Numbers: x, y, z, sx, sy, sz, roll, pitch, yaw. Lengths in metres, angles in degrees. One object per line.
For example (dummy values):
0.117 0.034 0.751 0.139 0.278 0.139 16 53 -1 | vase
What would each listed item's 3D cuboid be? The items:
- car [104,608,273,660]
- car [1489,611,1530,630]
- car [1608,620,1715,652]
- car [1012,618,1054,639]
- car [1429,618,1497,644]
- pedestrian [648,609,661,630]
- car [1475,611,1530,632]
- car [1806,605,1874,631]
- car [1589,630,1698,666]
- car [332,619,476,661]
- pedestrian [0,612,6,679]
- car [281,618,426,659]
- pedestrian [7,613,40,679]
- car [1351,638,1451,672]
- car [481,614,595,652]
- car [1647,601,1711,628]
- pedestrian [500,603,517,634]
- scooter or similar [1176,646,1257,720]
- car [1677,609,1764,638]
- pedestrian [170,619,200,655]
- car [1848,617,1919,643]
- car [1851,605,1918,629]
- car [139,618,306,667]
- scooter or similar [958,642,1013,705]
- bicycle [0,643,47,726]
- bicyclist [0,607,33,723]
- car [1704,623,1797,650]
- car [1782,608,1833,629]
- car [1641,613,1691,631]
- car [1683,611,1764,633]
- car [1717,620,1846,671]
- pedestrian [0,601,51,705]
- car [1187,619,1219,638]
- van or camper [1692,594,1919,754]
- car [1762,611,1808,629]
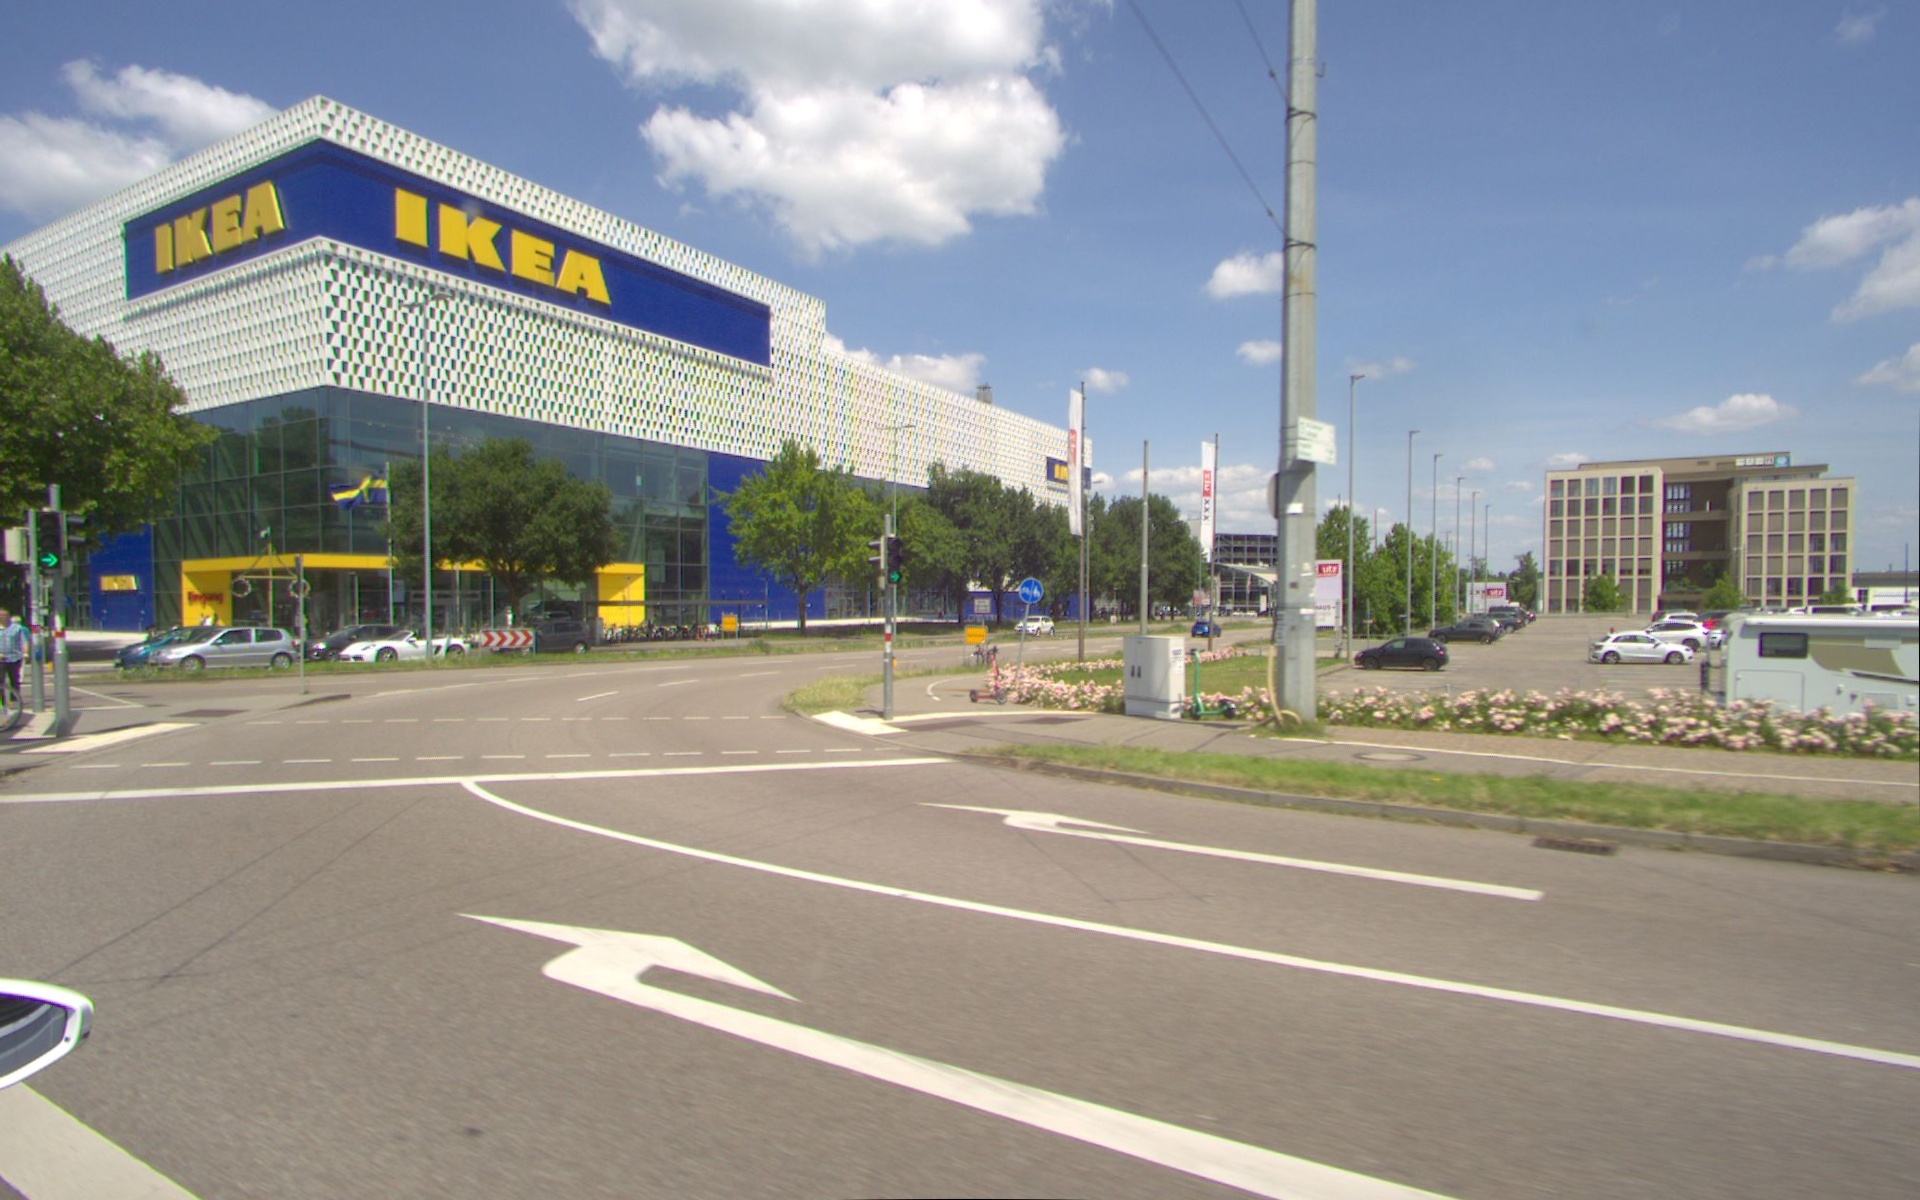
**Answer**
-25.326 1.092 33.000 1.970 1.576 3.983 0 -1 29 | car
61.393 2.300 111.888 3.944 2.040 1.989 0 -1 33 | car
39.105 1.980 55.934 4.805 1.724 1.843 -1 -1 36 | car
5.819 2.274 79.749 1.968 1.661 4.068 0 -1 26 | car
34.105 2.087 67.897 4.062 1.706 1.991 0 -1 30 | car
-22.917 1.465 75.099 0.570 1.607 0.766 0 0 25 | pedestrian
46.726 1.856 86.235 3.947 1.706 1.988 -1 -1 36 | car
71.561 1.483 81.492 3.947 2.040 1.988 -1 -1 36 | car
31.689 2.206 46.566 3.937 1.566 1.848 0 -1 28 | car
-19.948 1.404 36.086 1.779 1.416 4.209 0 -1 34 | car
-24.432 1.149 25.192 0.602 1.658 0.855 0 -2 -45 | pedestrian
-22.854 1.413 37.924 1.825 1.462 4.395 0 -1 30 | car
-23.963 1.163 25.624 0.598 1.658 0.855 0 -2 -45 | pedestrian
19.759 2.428 44.890 3.887 1.394 1.845 0 -1 33 | car
-18.683 1.439 44.506 1.837 1.605 4.391 0 -1 33 | car
55.374 1.120 77.200 3.943 2.040 1.538 0 -1 33 | car
-30.435 1.251 67.481 0.725 2.040 0.793 0 0 43 | pedestrian
4.103 1.326 16.061 0.473 1.140 1.274 1 -4 -30 | scooter or similar
46.600 1.439 61.483 4.114 1.724 1.843 0 0 35 | car
-35.481 1.700 45.859 0.623 1.607 0.918 0 0 25 | pedestrian
63.664 2.023 68.507 4.115 1.724 1.844 -1 -1 35 | car
80.710 1.515 87.487 3.942 2.040 1.990 0 -1 32 | car
-22.846 1.284 31.141 1.778 1.415 3.816 0 -1 33 | car
0.543 1.569 21.761 0.475 1.307 1.268 1 -1 -40 | scooter or similar
-14.737 1.258 15.105 1.849 1.177 0.829 0 -1 27 | bicycle
-14.670 0.971 15.069 0.786 1.723 0.814 0 -1 26 | bicyclist
43.943 2.019 55.770 3.947 1.457 1.843 0 -1 36 | car
76.306 1.663 90.194 3.334 1.828 1.693 -1 -1 34 | car
70.161 2.221 99.604 3.943 1.750 1.729 -1 -2 33 | car
50.421 1.453 66.235 4.198 1.430 1.850 -1 -1 35 | car
34.168 1.872 41.795 3.944 2.039 1.989 -1 -2 33 | car
-17.629 0.973 18.701 0.787 1.889 0.801 0 -1 35 | pedestrian
21.416 2.470 88.167 1.736 1.632 3.531 0 -1 32 | car
19.072 1.416 19.605 7.509 2.984 2.703 -1 -2 34 | van or camper
82.593 1.992 100.310 3.334 1.828 1.693 -1 -1 34 | car
